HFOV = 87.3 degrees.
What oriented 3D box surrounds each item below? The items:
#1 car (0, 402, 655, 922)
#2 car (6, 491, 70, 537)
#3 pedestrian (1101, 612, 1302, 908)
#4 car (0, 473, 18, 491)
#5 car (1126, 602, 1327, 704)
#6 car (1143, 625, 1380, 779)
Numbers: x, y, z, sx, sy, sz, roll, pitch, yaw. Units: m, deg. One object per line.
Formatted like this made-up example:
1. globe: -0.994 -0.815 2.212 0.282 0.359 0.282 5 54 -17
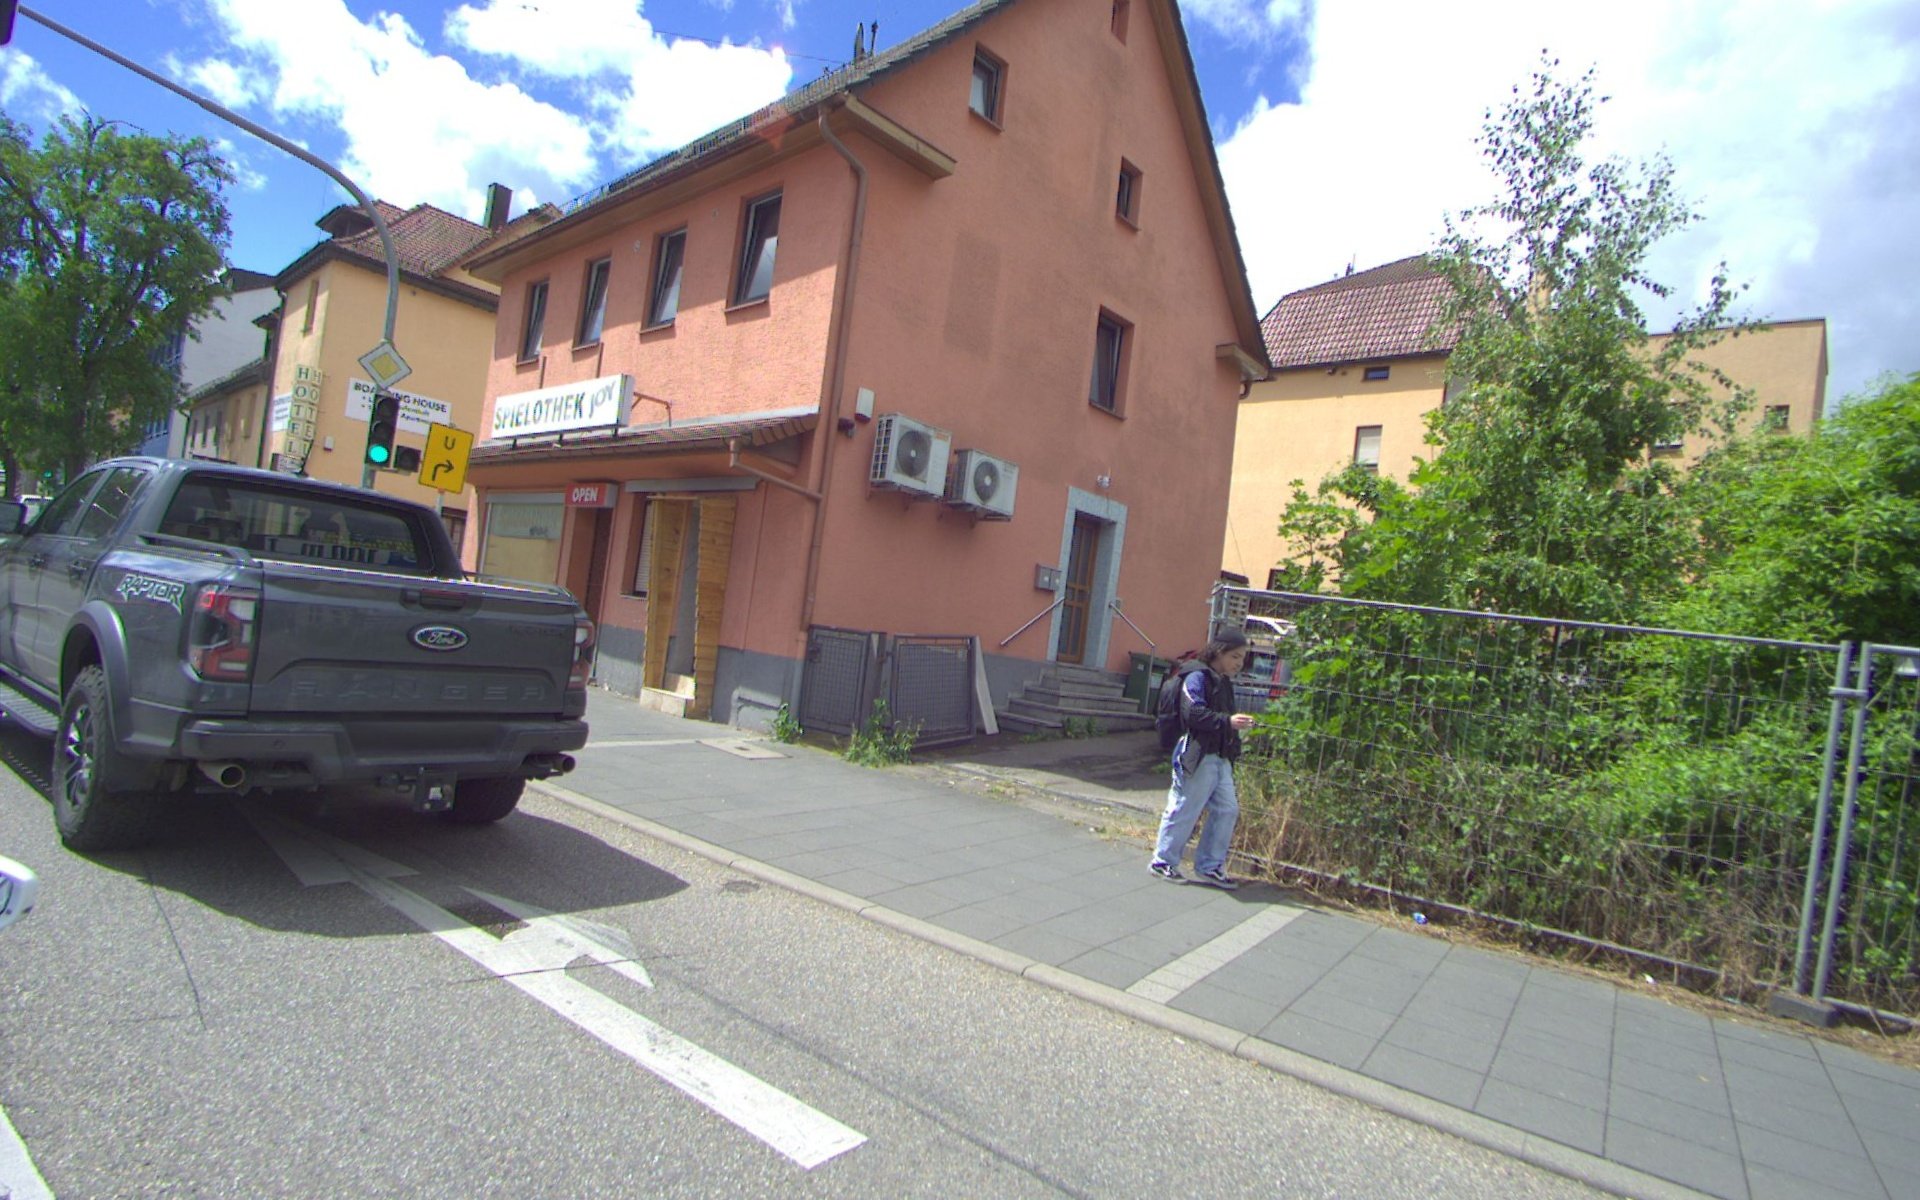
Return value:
1. car: -4.304 0.120 6.015 5.072 1.909 1.999 6 -1 37
2. car: -39.398 -3.671 42.959 1.782 1.615 3.950 7 -1 -45
3. pedestrian: 1.539 0.976 6.403 0.767 1.663 0.762 9 1 43
4. car: -93.846 -11.617 98.567 1.807 1.486 3.958 8 -1 -38
5. car: 6.206 1.215 23.642 3.947 1.804 1.990 7 -1 44
6. car: 3.788 1.194 12.476 1.627 1.516 2.796 7 2 43
